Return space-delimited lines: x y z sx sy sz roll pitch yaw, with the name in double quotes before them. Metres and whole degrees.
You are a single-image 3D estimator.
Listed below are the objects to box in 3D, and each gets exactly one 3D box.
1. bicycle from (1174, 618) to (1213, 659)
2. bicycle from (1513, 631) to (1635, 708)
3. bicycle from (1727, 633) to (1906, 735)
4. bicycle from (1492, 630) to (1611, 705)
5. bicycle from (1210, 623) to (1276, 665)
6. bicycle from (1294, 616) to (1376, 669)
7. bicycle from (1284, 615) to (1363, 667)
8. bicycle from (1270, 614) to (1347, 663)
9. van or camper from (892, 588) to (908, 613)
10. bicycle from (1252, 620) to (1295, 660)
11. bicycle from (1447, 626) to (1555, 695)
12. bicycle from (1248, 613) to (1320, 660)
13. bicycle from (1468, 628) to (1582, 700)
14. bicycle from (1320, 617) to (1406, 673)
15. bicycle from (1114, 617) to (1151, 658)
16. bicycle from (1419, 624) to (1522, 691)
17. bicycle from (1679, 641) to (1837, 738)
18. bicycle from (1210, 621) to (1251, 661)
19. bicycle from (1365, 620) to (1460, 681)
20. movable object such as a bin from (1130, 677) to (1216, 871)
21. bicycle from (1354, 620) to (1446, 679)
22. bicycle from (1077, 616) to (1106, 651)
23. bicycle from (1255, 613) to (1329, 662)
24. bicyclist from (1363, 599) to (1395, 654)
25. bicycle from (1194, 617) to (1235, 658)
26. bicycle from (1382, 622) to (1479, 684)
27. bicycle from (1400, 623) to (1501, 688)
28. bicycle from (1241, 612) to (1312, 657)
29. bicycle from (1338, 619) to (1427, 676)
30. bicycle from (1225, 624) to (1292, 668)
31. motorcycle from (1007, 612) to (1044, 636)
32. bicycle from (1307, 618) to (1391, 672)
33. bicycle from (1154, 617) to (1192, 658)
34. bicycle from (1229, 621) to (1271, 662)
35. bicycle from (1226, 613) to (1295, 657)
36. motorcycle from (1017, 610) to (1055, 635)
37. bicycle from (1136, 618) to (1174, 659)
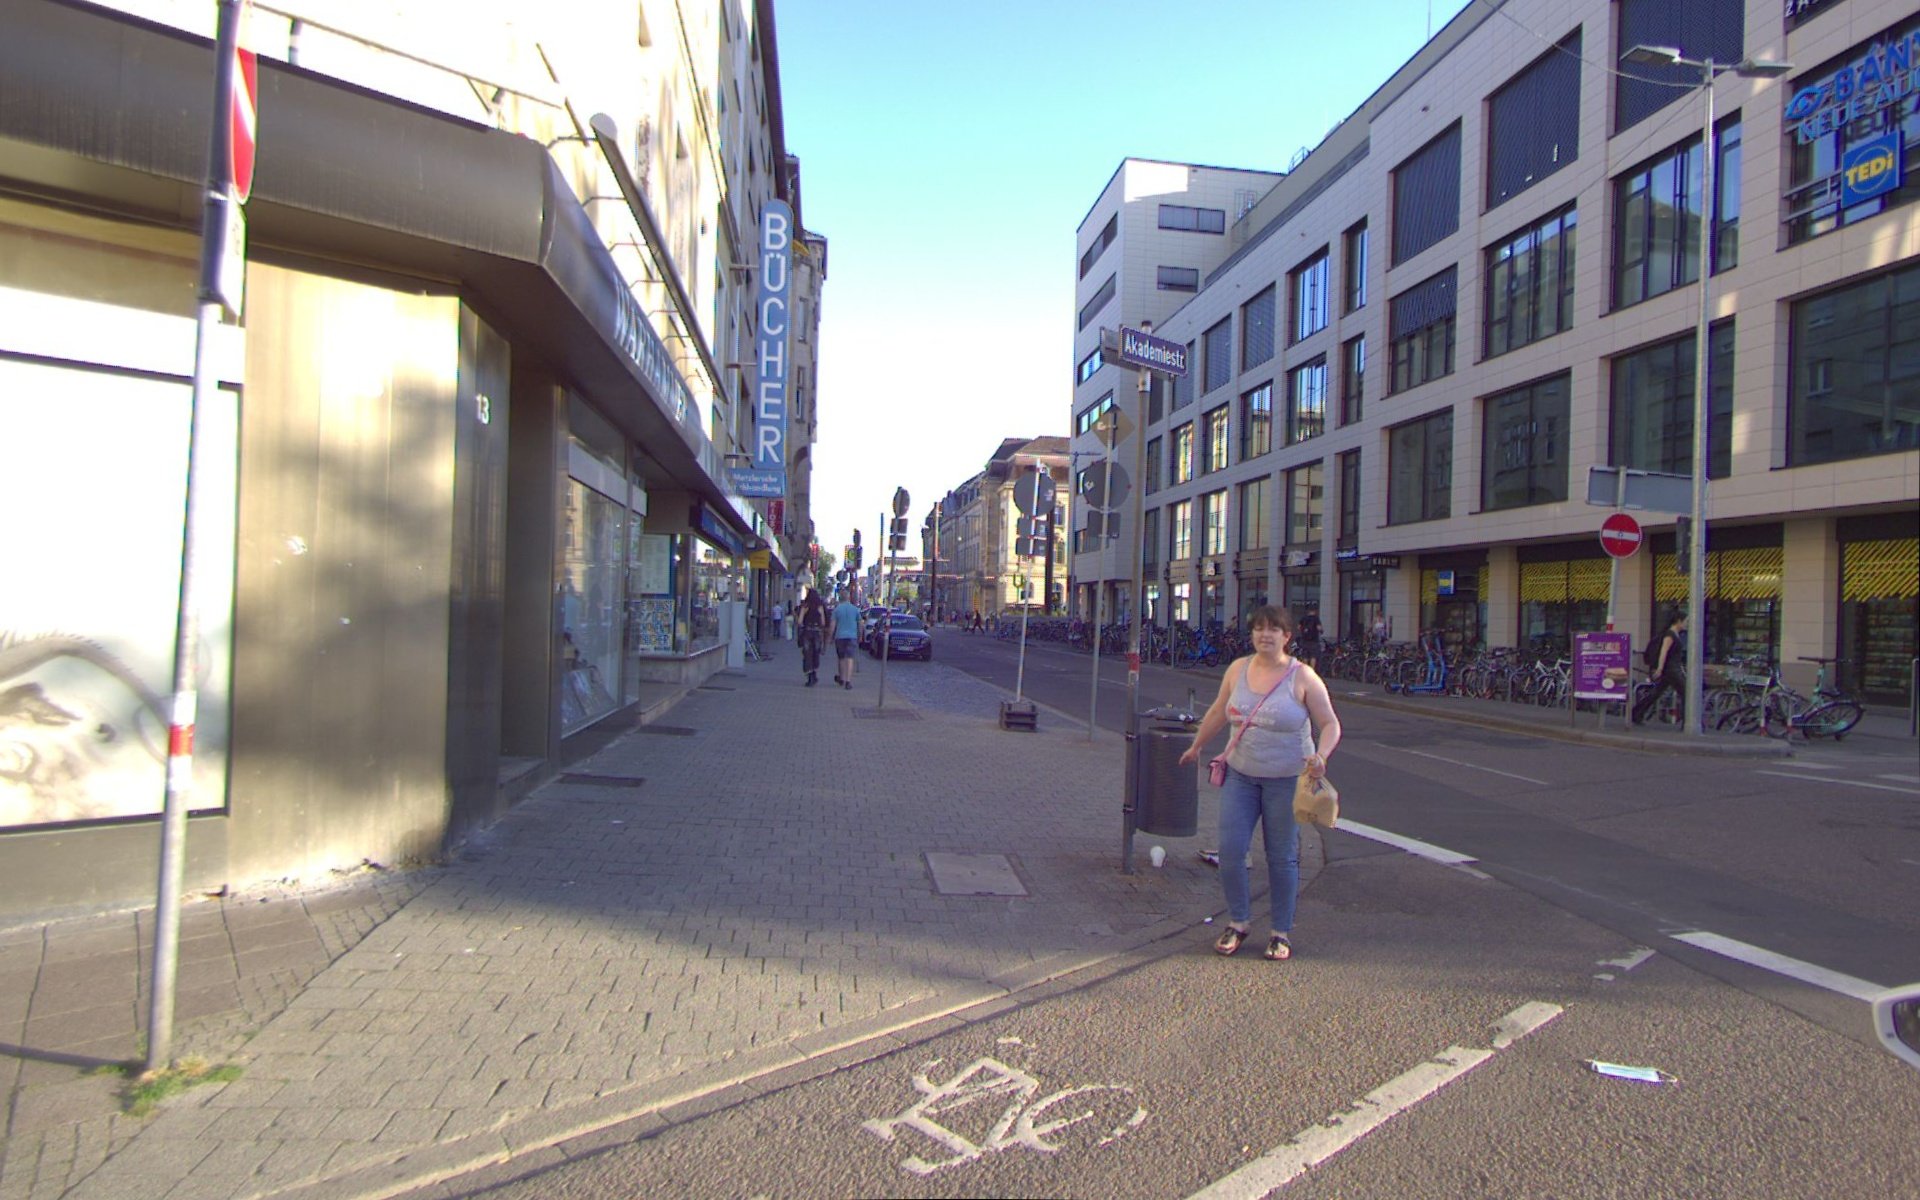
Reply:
"bicycle" 7.867 1.291 33.951 0.504 1.271 1.975 2 0 -11
"bicycle" 10.796 1.218 17.675 1.943 1.271 0.512 2 0 -10
"bicycle" 11.522 1.130 13.520 2.103 1.271 0.664 2 0 -12
"bicycle" 10.739 1.216 18.245 1.943 1.271 0.512 2 0 -10
"bicycle" 9.052 1.409 32.122 1.943 1.271 0.512 2 0 -10
"bicycle" 9.626 1.097 25.819 1.943 1.271 0.512 2 0 -10
"bicycle" 9.635 1.088 26.635 1.943 1.271 0.512 2 0 -10
"bicycle" 9.516 1.050 27.454 1.943 1.271 0.512 2 0 -10
"van or camper" -8.374 0.097 140.645 1.961 3.317 5.161 1 0 -2
"bicycle" 10.668 1.341 34.239 0.504 1.271 1.975 2 0 -11
"bicycle" 10.621 1.187 19.725 1.943 1.271 0.512 2 0 -10
"bicycle" 9.341 1.063 28.969 1.943 1.271 0.512 2 0 -10
"bicycle" 10.658 1.201 18.957 1.943 1.271 0.512 2 0 -10
"bicycle" 9.876 1.099 24.613 1.943 1.271 0.512 2 0 -10
"bicycle" 5.761 1.249 33.596 0.504 1.271 1.975 2 0 -11
"bicycle" 10.433 1.178 20.540 1.944 1.271 0.512 2 0 -12
"bicycle" 11.334 1.268 14.267 2.009 1.271 0.581 2 0 -12
"bicycle" 9.211 1.375 34.228 0.504 1.271 1.975 2 0 -11
"bicycle" 10.146 1.138 22.540 1.943 1.271 0.512 2 0 -10
"movable object such as a bin" 1.276 1.019 6.015 0.355 1.078 0.354 2 0 40
"bicycle" 10.168 1.138 23.218 1.943 1.271 0.512 2 0 -10
"bicycle" 5.093 1.282 39.001 0.504 1.271 1.975 2 0 -11
"bicycle" 9.312 1.049 28.177 1.943 1.271 0.512 2 0 -10
"bicyclist" 13.241 0.823 31.768 0.672 1.718 0.643 1 0 -8
"bicycle" 8.609 1.263 34.074 0.504 1.271 1.975 2 0 -11
"bicycle" 10.280 1.159 21.948 1.943 1.271 0.512 2 0 -10
"bicycle" 10.326 1.162 21.162 1.943 1.271 0.512 2 0 -10
"bicycle" 9.374 1.020 29.778 1.943 1.271 0.512 2 0 -10
"bicycle" 10.043 1.131 23.889 1.943 1.271 0.512 2 0 -10
"bicycle" 9.273 1.424 31.226 1.943 1.271 0.512 2 0 -10
"motorcycle" 3.617 1.341 55.728 1.947 1.271 0.511 2 0 -17
"bicycle" 9.763 1.121 25.203 1.943 1.271 0.512 2 0 -10
"bicycle" 7.159 1.253 33.857 0.504 1.271 1.975 2 0 -11
"bicycle" 9.900 1.396 34.315 0.504 1.271 1.975 2 0 -11
"bicycle" 9.119 1.059 30.465 1.943 1.271 0.512 2 0 -10
"motorcycle" 4.118 1.236 54.164 1.947 1.271 0.511 2 0 -17
"bicycle" 6.527 1.278 33.705 0.504 1.271 1.975 2 0 -11
